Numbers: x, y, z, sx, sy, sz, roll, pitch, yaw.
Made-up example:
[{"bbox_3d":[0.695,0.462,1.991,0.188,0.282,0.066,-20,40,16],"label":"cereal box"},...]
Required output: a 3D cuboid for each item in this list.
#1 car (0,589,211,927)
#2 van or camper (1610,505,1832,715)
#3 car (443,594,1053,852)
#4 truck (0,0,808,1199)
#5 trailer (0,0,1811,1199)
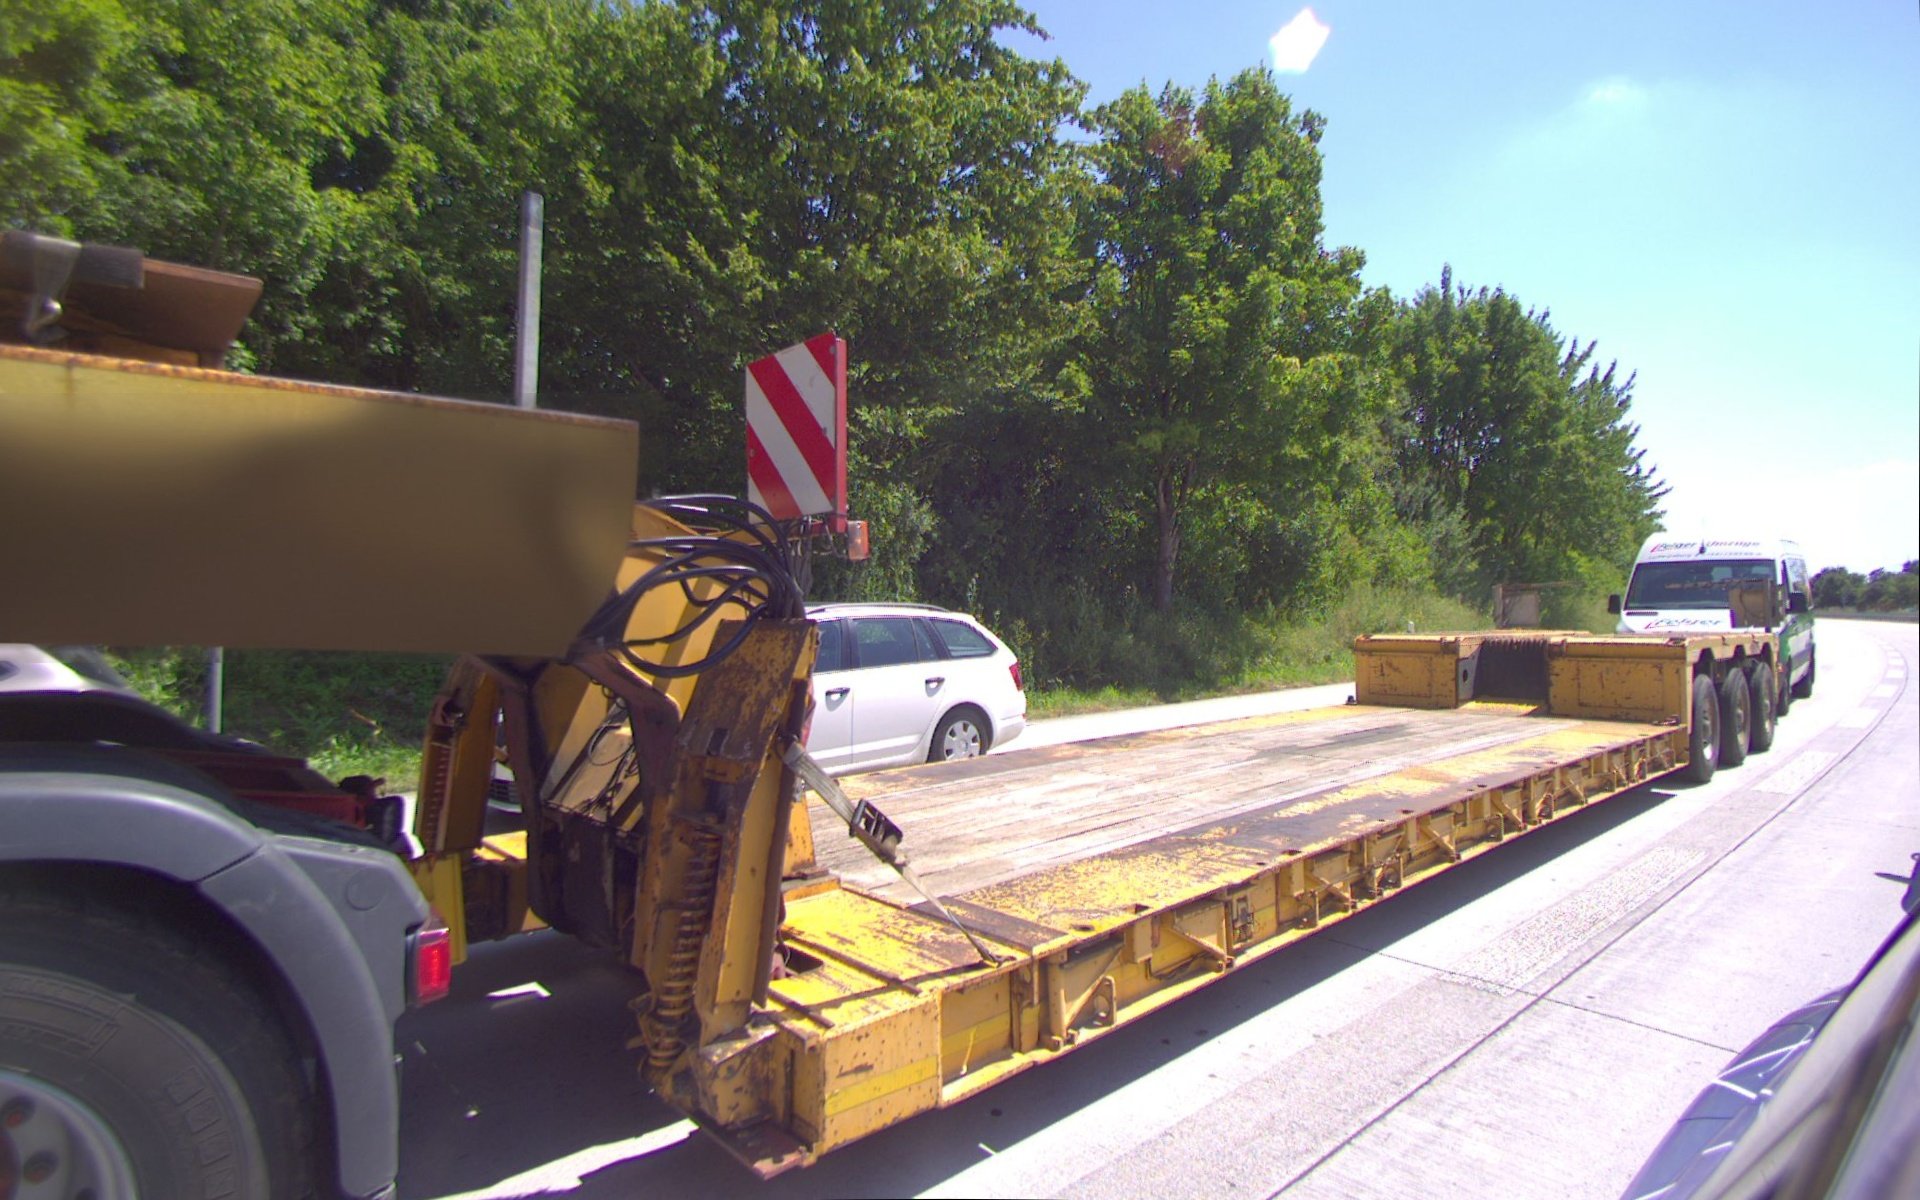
[{"bbox_3d":[-5.835,0.706,4.161,4.290,1.480,1.770,-1,0,-42],"label":"car"},{"bbox_3d":[11.743,0.087,15.407,2.063,2.606,5.815,0,0,43],"label":"van or camper"},{"bbox_3d":[-1.419,0.697,8.054,4.521,1.480,1.769,0,0,-43],"label":"car"},{"bbox_3d":[-4.043,-0.506,0.842,7.342,3.820,3.017,0,0,-42],"label":"truck"},{"bbox_3d":[1.845,0.106,6.193,16.076,2.626,3.031,0,0,-42],"label":"trailer"}]
